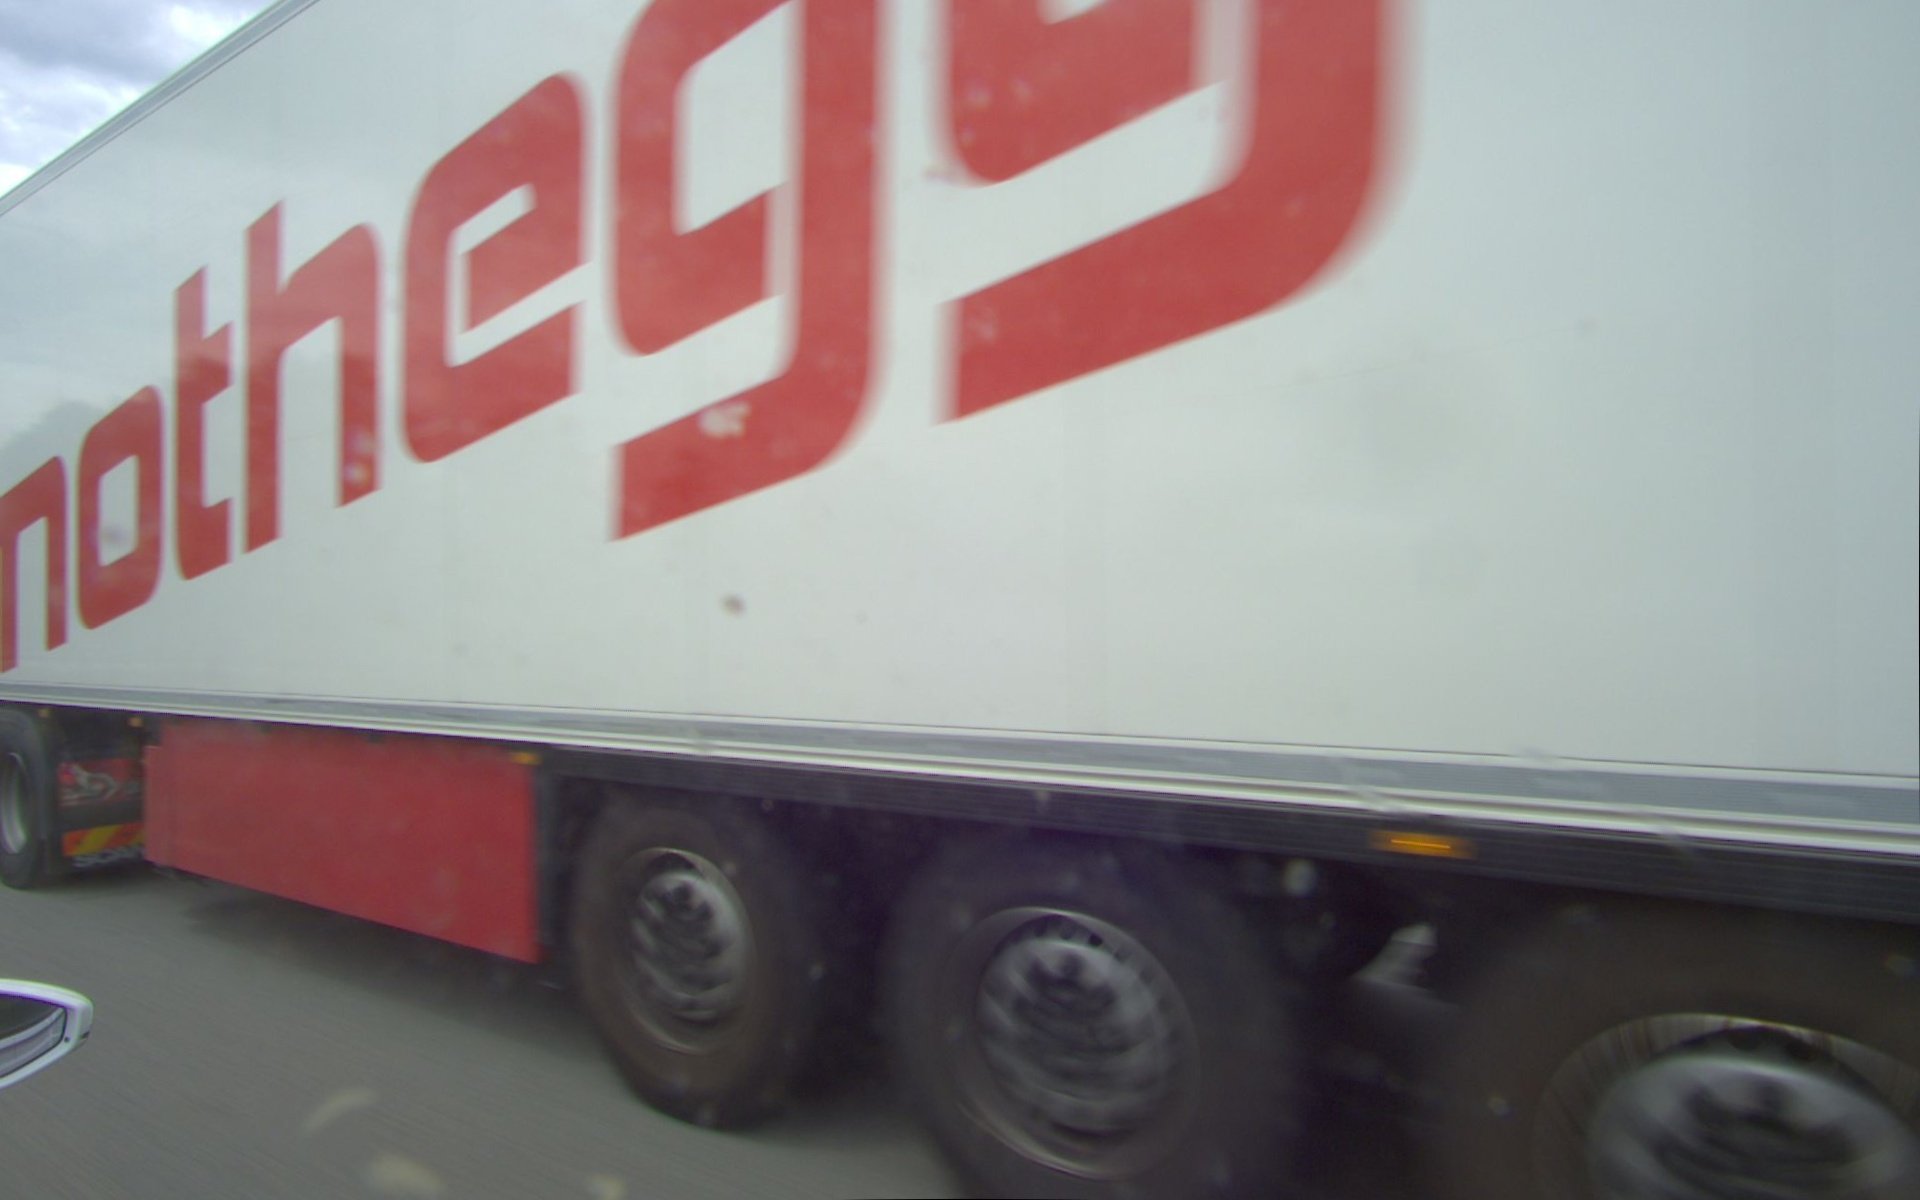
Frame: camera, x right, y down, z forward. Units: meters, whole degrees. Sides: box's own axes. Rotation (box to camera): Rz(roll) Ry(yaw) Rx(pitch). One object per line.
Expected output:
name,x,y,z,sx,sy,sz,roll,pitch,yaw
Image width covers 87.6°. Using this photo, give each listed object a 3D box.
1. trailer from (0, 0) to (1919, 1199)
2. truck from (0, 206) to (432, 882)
trailer,-1.680,-0.541,4.871,13.903,4.228,2.788,-1,-2,32
truck,-7.398,-0.242,8.502,5.596,4.010,2.751,-1,-2,32
